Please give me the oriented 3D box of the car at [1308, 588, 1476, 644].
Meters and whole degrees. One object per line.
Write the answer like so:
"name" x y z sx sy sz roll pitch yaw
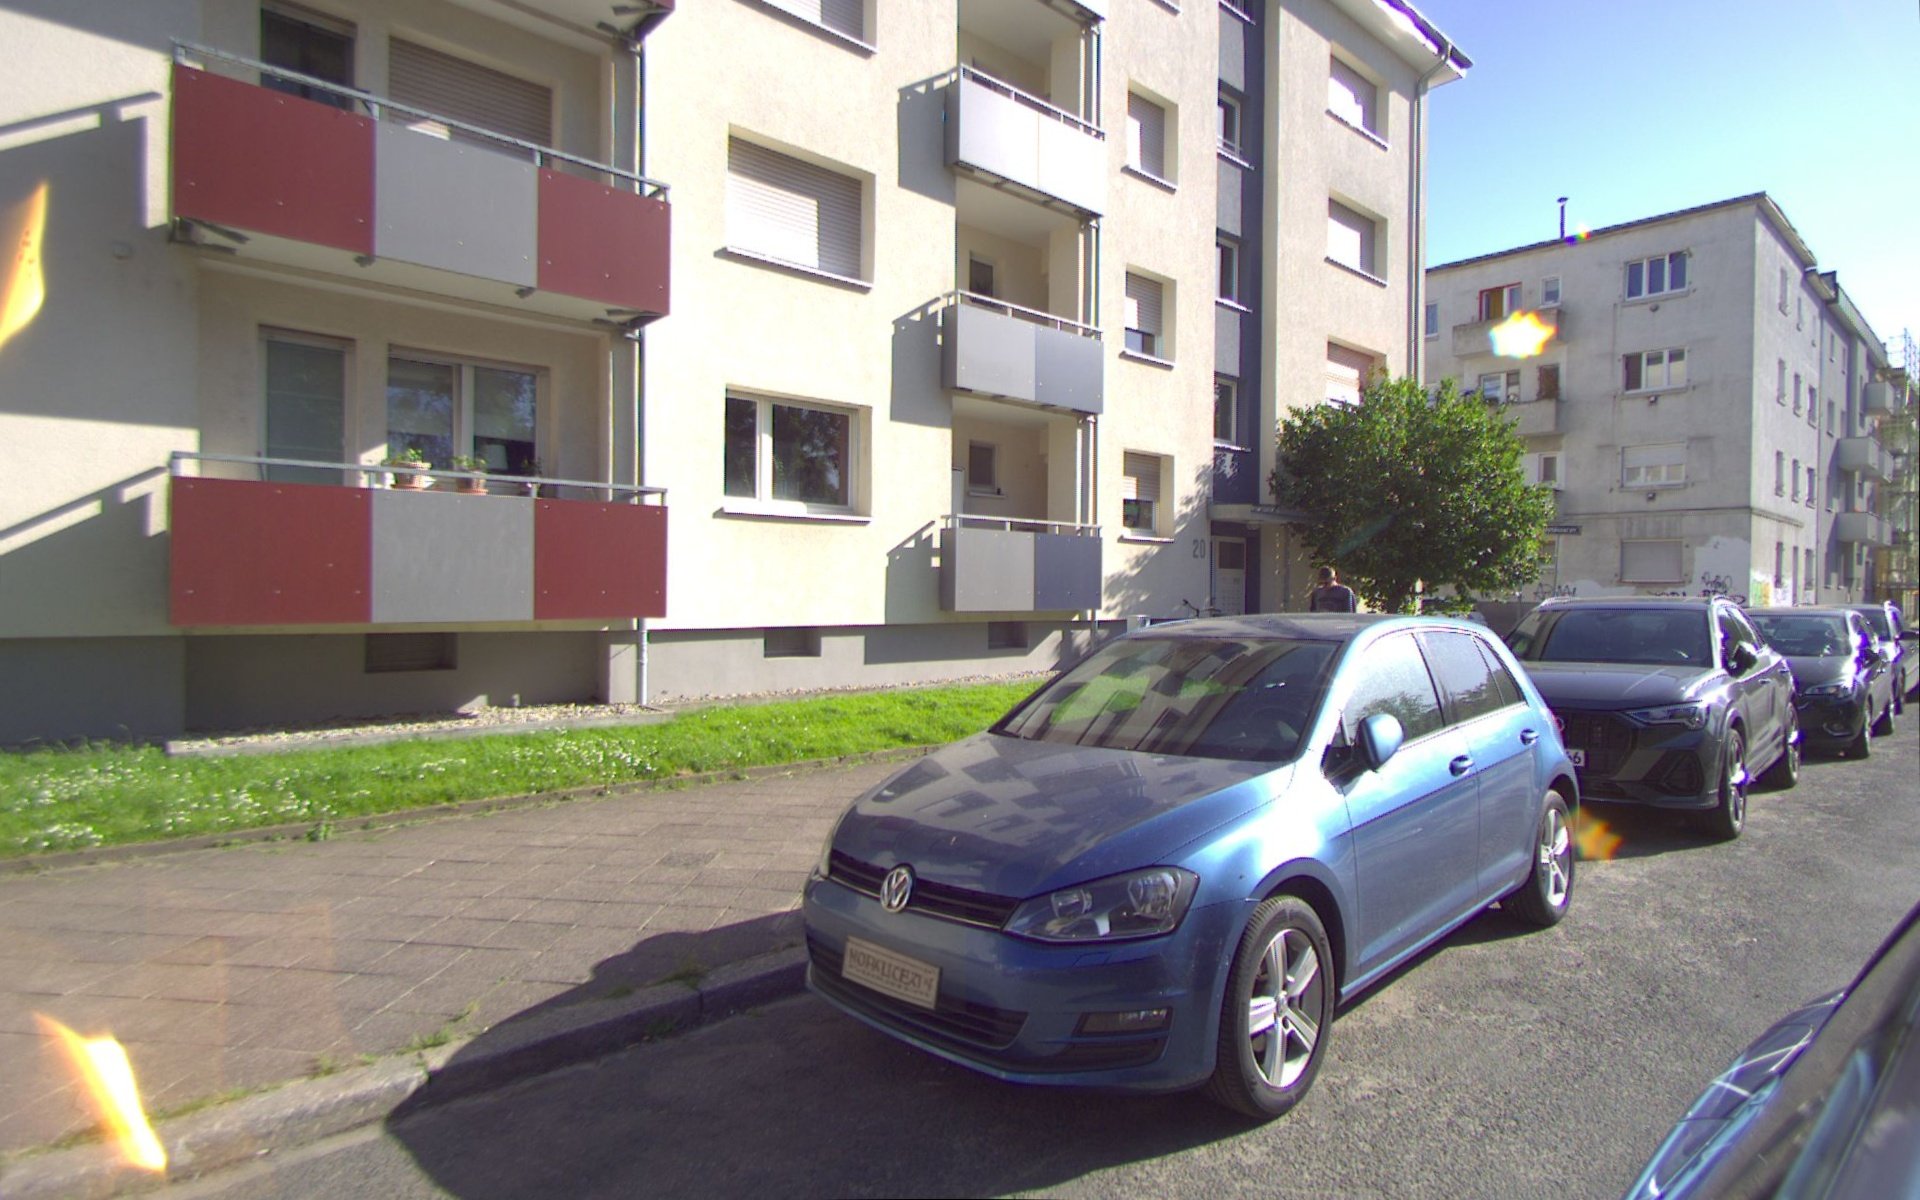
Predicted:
"car" 12.348 0.429 29.090 1.772 1.433 4.042 3 -1 -42

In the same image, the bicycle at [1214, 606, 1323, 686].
"bicycle" 4.438 0.614 14.444 0.485 1.024 2.247 2 2 45

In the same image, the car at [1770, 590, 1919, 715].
"car" 13.539 0.670 15.176 4.017 1.568 1.620 -1 2 -43

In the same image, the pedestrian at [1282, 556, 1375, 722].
"pedestrian" 4.169 0.419 11.451 0.825 1.794 0.647 0 0 -36

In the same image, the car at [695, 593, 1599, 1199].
"car" 1.123 0.738 4.268 4.012 1.499 1.754 -1 1 -44

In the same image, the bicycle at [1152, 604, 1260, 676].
"bicycle" 3.763 0.573 15.352 0.485 0.972 2.247 2 2 45

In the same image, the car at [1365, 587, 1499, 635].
"car" 15.703 0.351 33.789 1.662 1.477 3.716 2 0 -40

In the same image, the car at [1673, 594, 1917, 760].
"car" 9.319 0.698 11.198 3.733 1.503 1.607 -1 1 -43

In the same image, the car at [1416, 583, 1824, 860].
"car" 5.290 0.669 7.860 4.184 1.578 1.754 -1 0 -44
